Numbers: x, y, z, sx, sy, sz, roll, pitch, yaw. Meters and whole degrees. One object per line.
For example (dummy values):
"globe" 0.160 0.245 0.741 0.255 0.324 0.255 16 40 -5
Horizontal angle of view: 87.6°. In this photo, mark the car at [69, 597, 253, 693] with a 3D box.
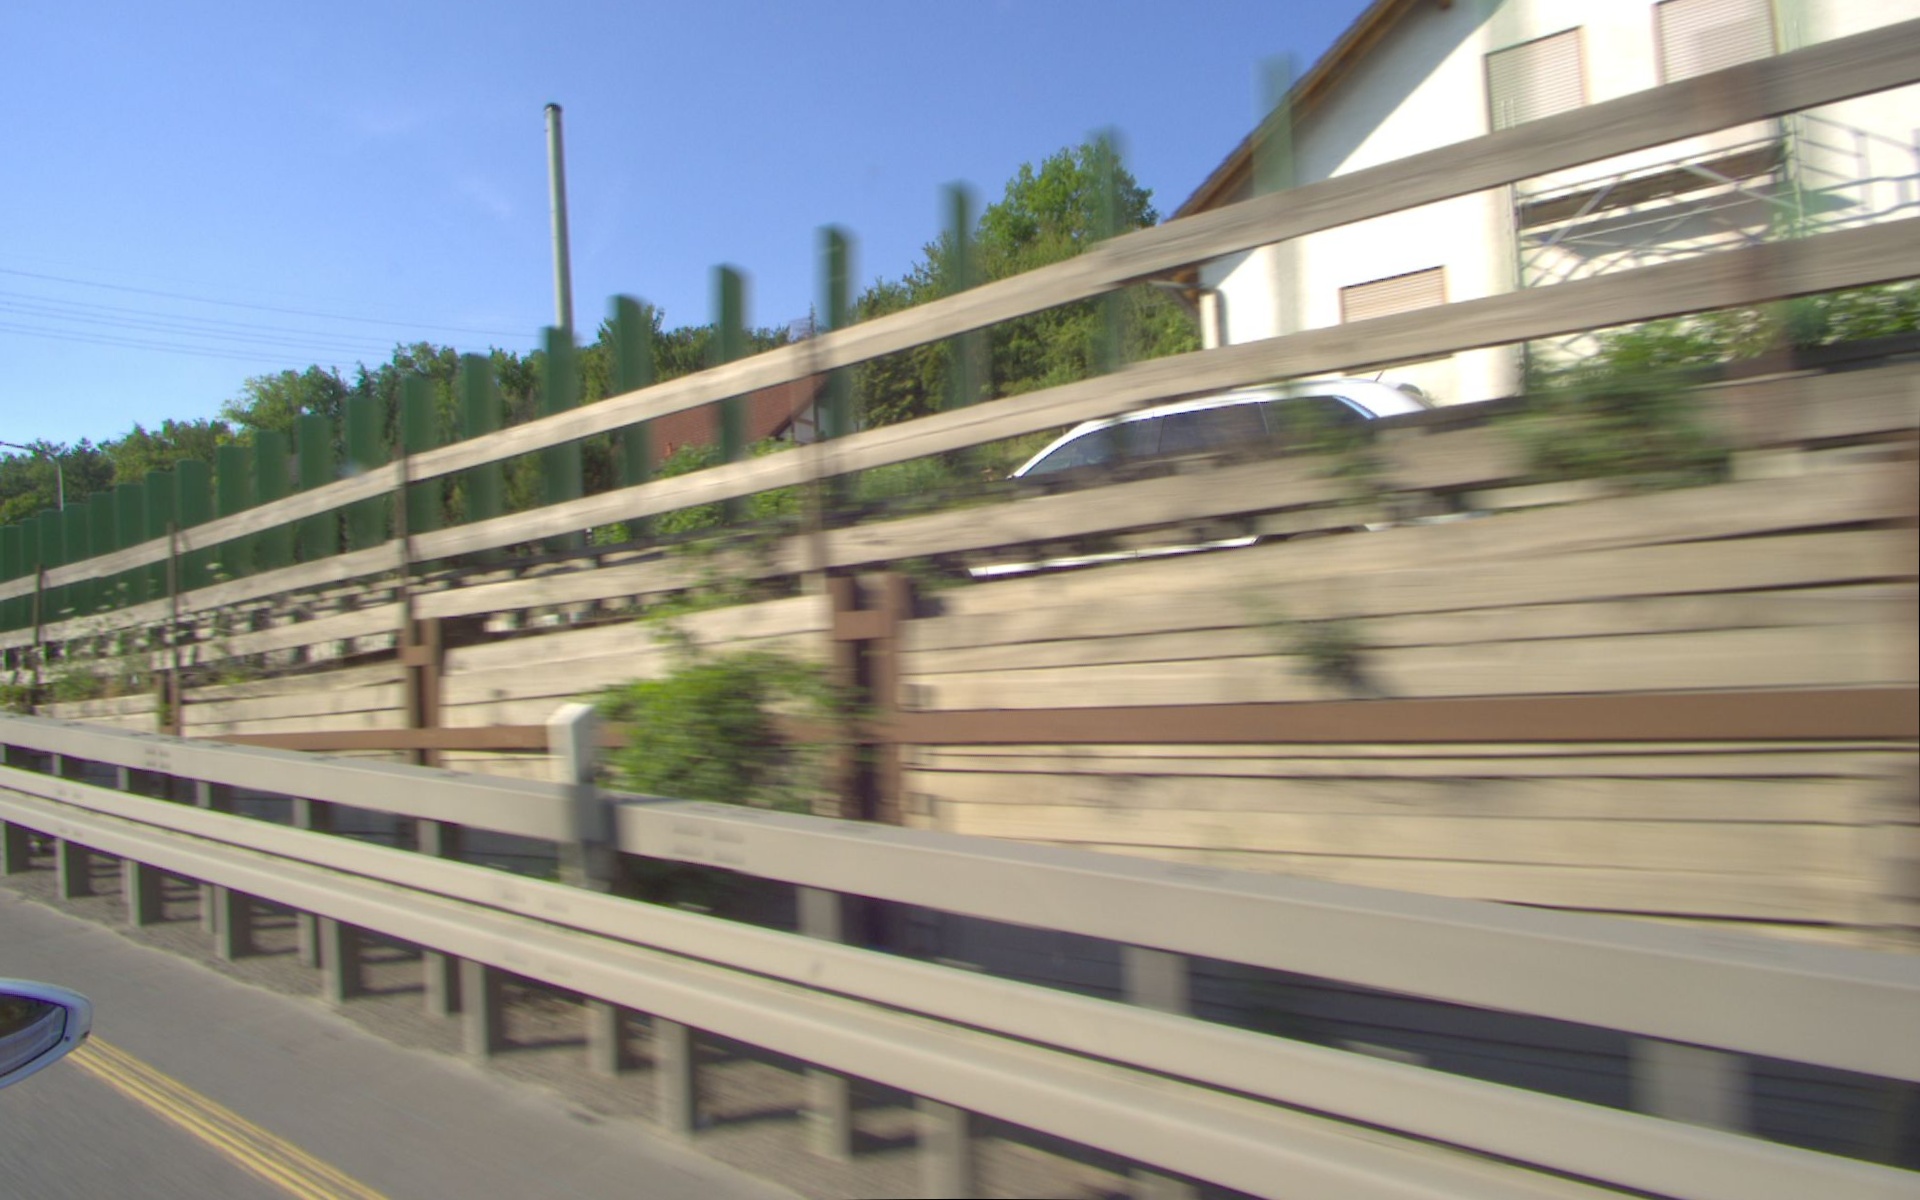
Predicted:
"car" -17.506 1.023 21.895 4.378 1.894 1.804 -3 -2 32

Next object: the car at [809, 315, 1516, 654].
"car" 1.305 -0.550 7.192 4.578 1.679 1.697 -4 -2 28
